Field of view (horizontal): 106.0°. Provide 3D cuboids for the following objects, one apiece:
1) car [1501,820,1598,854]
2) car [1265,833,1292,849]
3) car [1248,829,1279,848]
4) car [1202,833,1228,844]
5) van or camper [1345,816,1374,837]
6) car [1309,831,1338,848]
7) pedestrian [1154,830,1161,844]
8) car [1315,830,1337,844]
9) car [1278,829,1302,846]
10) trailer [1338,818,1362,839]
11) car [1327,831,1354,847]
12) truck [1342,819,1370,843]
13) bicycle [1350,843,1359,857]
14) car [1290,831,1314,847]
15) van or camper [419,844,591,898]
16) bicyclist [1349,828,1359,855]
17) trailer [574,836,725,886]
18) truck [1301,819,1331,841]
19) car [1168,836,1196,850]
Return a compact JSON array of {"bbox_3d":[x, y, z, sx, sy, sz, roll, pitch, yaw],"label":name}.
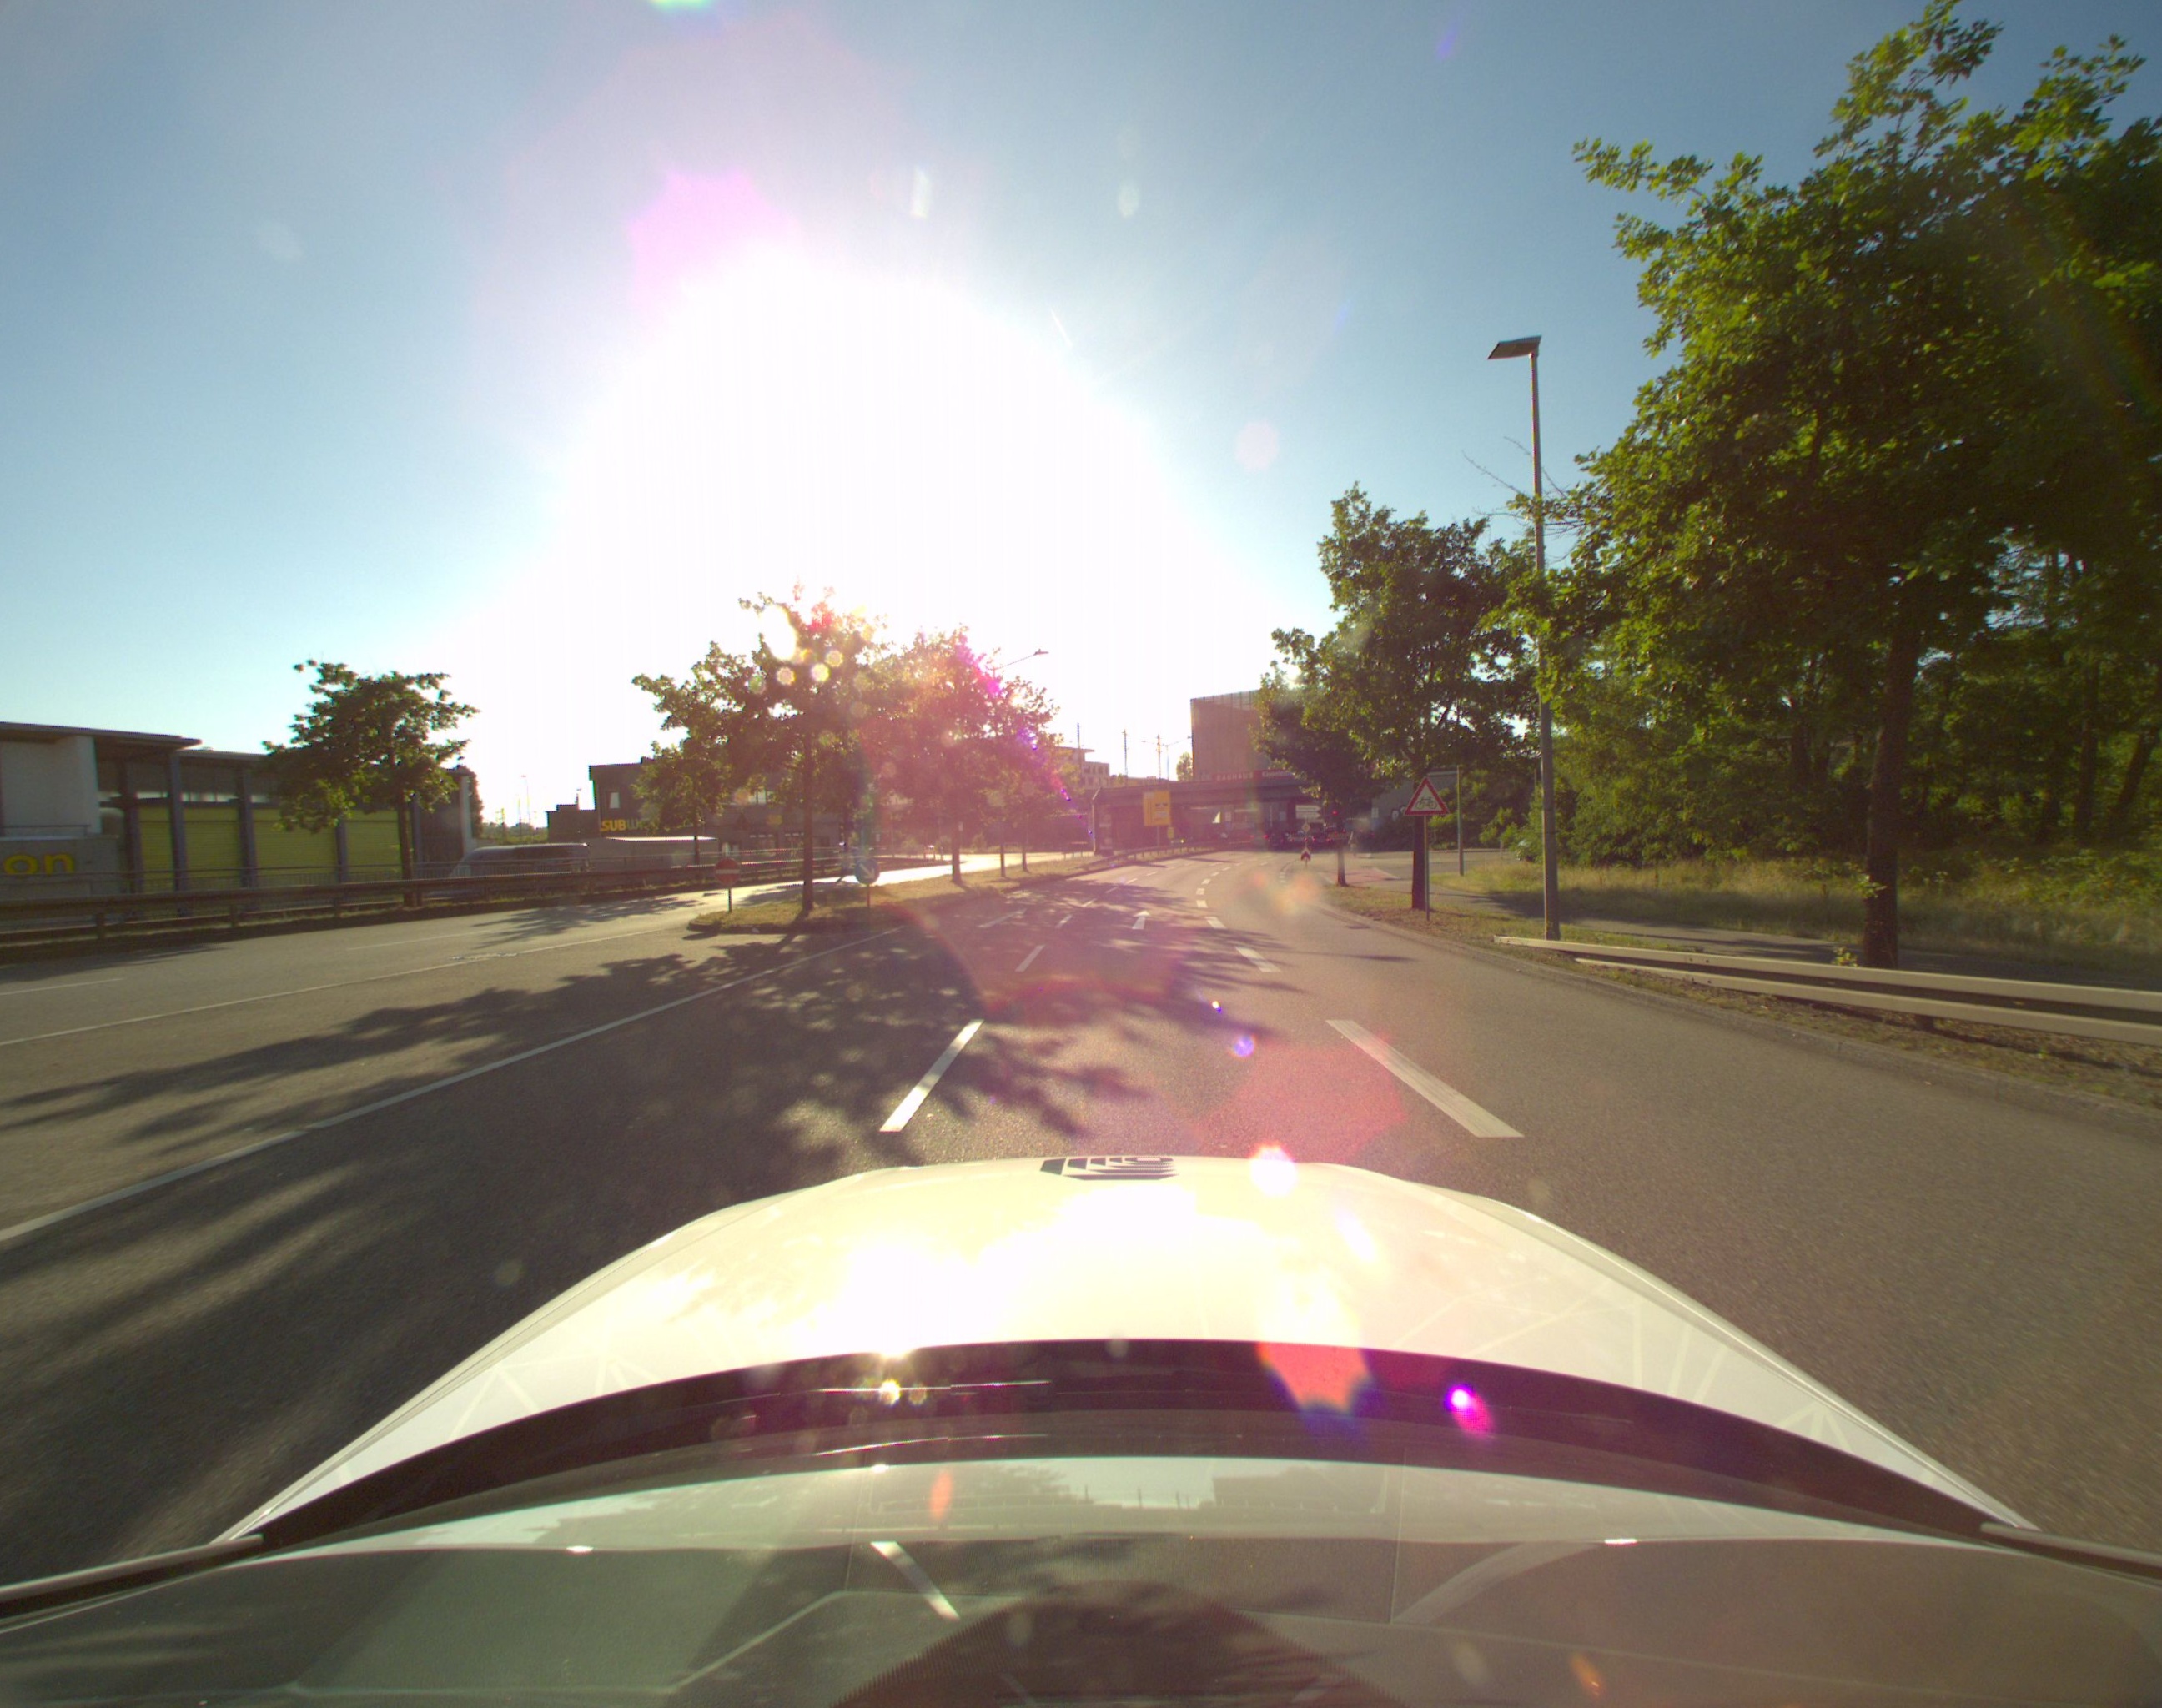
[{"bbox_3d":[25.068,-0.881,43.686,3.975,1.508,1.999,-4,0,-1],"label":"car"},{"bbox_3d":[18.571,-1.263,76.531,1.567,1.408,3.855,0,1,27],"label":"car"},{"bbox_3d":[18.391,-1.564,81.800,1.812,1.738,4.489,-1,1,29],"label":"car"},{"bbox_3d":[17.806,-2.052,107.963,1.656,1.462,4.132,-1,1,35],"label":"car"},{"bbox_3d":[35.746,-3.502,104.501,1.974,2.570,5.956,0,1,35],"label":"van or camper"},{"bbox_3d":[22.971,-1.371,76.938,1.724,1.454,4.635,0,3,28],"label":"car"},{"bbox_3d":[10.302,-2.268,109.736,0.687,1.903,0.669,-1,1,33],"label":"pedestrian"},{"bbox_3d":[28.344,-1.982,94.142,1.566,1.532,3.856,0,1,31],"label":"car"},{"bbox_3d":[23.898,-1.887,92.999,1.824,1.719,4.024,-4,0,26],"label":"car"},{"bbox_3d":[32.886,-3.140,99.584,1.846,2.464,3.857,-2,1,33],"label":"trailer"},{"bbox_3d":[26.650,-1.545,83.438,1.755,1.495,3.856,-2,1,30],"label":"car"},{"bbox_3d":[30.642,-2.495,90.560,2.091,2.519,4.428,-1,0,30],"label":"truck"},{"bbox_3d":[19.221,-0.304,57.299,0.574,0.963,2.900,-1,1,19],"label":"bicycle"},{"bbox_3d":[22.430,-1.485,82.675,1.532,1.423,3.438,-4,0,27],"label":"car"},{"bbox_3d":[-19.753,0.516,28.303,1.983,1.685,4.971,-1,1,7],"label":"van or camper"},{"bbox_3d":[19.236,-0.879,57.389,0.676,1.906,0.837,-1,1,19],"label":"bicyclist"},{"bbox_3d":[-18.850,0.238,36.157,2.405,1.969,6.622,-1,1,8],"label":"trailer"},{"bbox_3d":[28.777,-2.937,99.574,2.008,2.556,5.573,-1,1,32],"label":"truck"},{"bbox_3d":[11.389,-1.283,91.284,1.724,1.462,3.789,-2,0,30],"label":"car"}]
